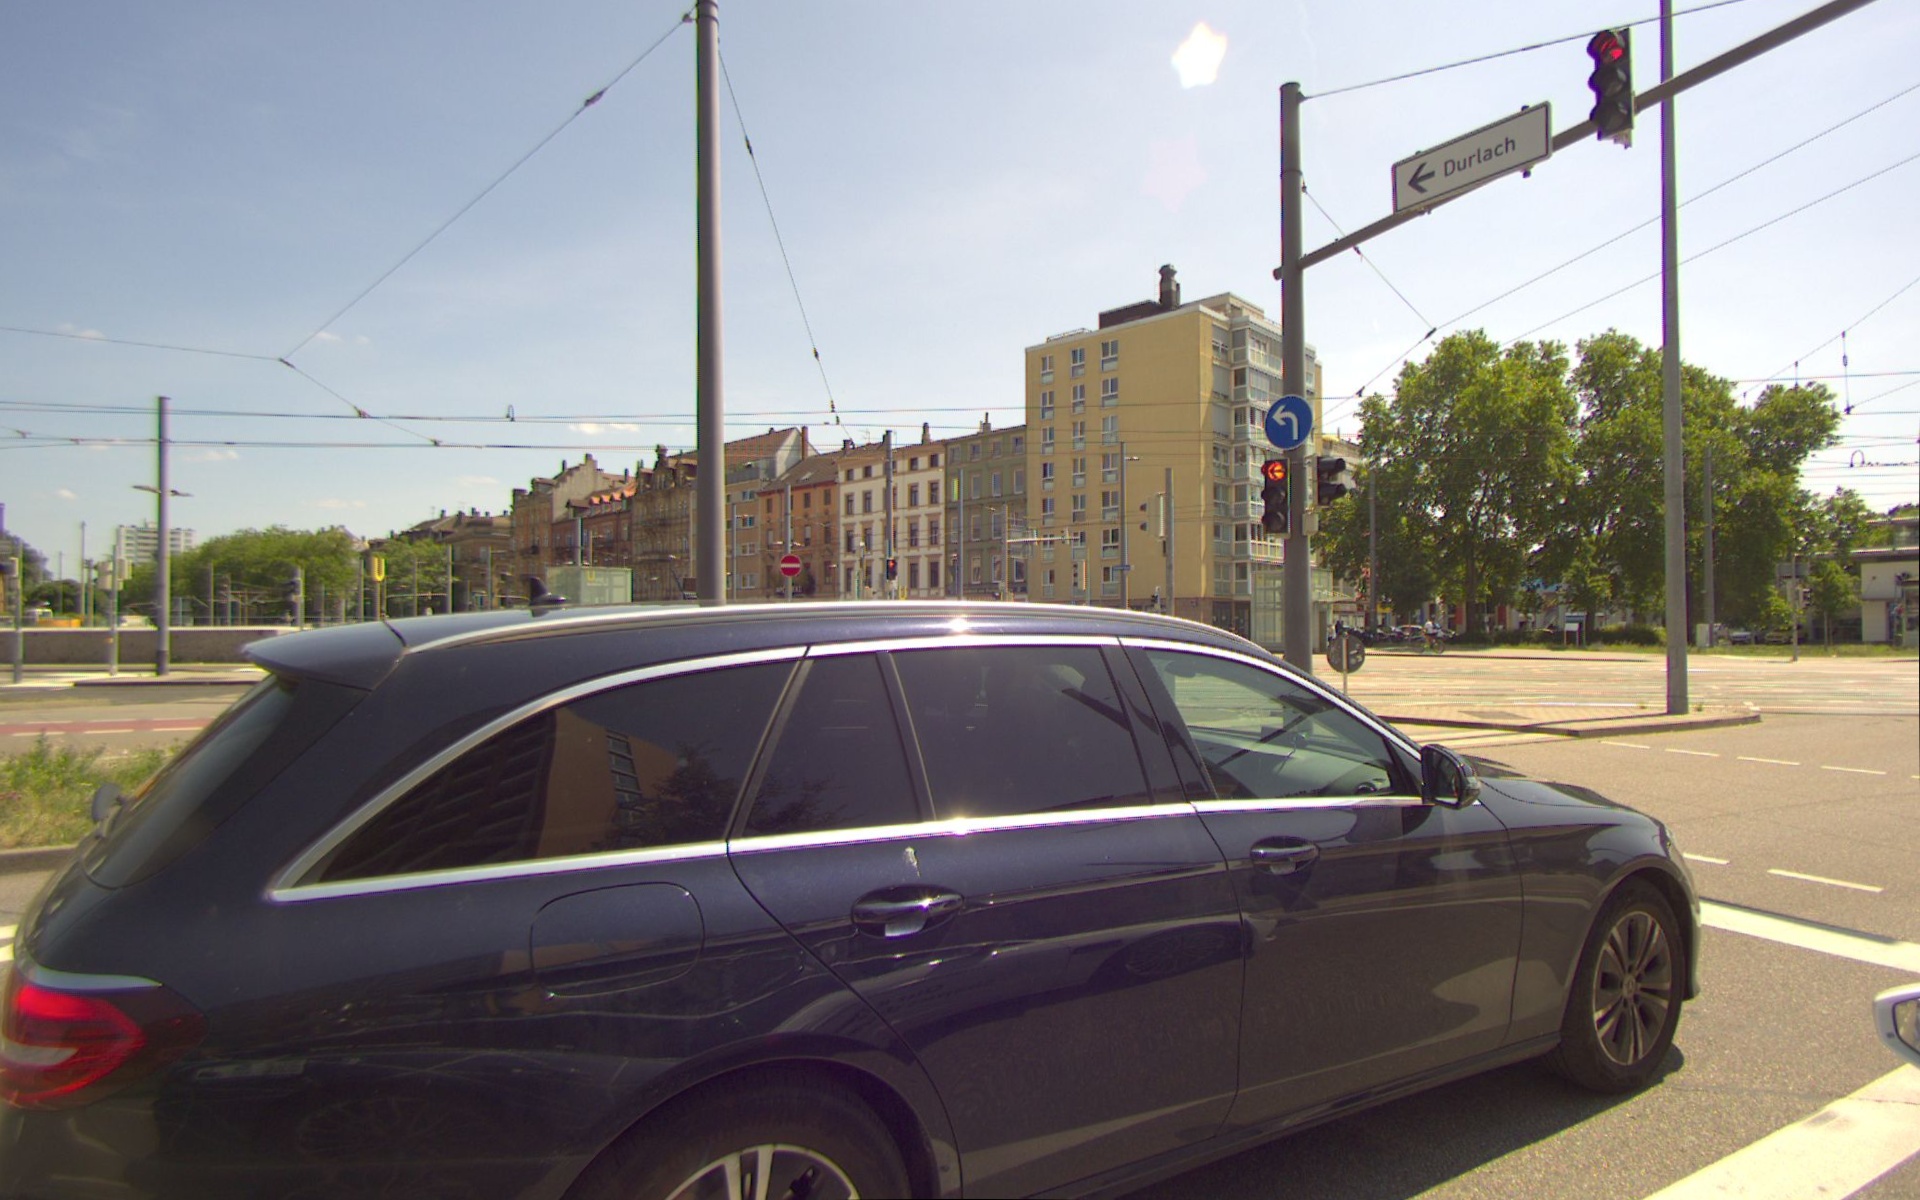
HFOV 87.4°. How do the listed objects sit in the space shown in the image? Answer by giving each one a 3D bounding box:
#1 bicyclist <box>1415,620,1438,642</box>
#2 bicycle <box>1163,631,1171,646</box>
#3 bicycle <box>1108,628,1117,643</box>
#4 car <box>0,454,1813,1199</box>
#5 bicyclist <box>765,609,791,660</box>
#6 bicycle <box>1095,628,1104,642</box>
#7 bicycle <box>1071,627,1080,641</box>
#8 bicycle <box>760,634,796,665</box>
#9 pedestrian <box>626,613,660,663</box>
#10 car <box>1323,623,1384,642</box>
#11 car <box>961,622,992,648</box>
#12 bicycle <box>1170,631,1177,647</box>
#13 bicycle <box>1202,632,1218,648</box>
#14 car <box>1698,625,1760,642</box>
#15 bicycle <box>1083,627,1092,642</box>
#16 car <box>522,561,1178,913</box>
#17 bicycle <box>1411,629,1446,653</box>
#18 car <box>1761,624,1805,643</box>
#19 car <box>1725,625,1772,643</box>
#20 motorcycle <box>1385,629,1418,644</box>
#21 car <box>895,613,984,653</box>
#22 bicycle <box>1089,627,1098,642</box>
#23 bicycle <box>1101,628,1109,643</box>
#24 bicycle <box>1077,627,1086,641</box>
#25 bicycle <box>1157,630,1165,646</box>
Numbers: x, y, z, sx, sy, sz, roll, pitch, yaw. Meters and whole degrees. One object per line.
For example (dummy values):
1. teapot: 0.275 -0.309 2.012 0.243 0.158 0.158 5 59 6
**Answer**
1. bicyclist: 24.147 1.604 51.990 0.915 1.157 0.713 -1 -2 43
2. bicycle: 14.248 2.638 69.018 0.424 1.040 1.445 0 -1 16
3. bicycle: 11.015 2.558 72.501 0.424 1.040 1.445 0 -1 16
4. car: 0.455 0.711 3.082 4.747 1.662 1.789 1 -2 -30
5. bicyclist: -5.731 1.088 31.579 0.433 1.549 1.245 2 0 -26
6. bicycle: 10.181 2.537 73.156 0.424 1.040 1.445 0 -1 16
7. bicycle: 8.607 2.496 74.535 0.424 1.040 1.445 0 -1 16
8. bicycle: -5.731 1.536 31.530 0.620 0.866 1.887 2 0 -26
9. pedestrian: -11.820 1.420 37.458 1.114 1.837 0.677 -1 -1 38
10. car: 29.954 2.476 76.478 3.942 1.439 1.990 -1 -2 41
11. car: 1.124 2.461 70.823 1.803 1.773 3.998 0 -1 -4
12. bicycle: 14.617 2.648 68.754 0.424 1.040 1.445 0 -1 16
13. bicycle: 17.032 2.718 68.487 0.427 1.040 1.435 -1 -2 44
14. car: 71.259 3.104 93.100 4.245 1.530 1.771 -1 -1 26
15. bicycle: 9.377 2.516 73.760 0.424 1.040 1.445 0 -1 16
16. car: -0.633 0.664 6.252 3.693 1.597 1.736 1 -2 -30
17. bicycle: 24.200 2.096 51.943 1.489 1.233 0.713 -1 -2 44
18. car: 69.398 2.832 84.669 4.283 1.530 1.756 1 -2 -35
19. car: 68.493 2.931 87.241 4.274 1.530 1.759 1 -2 -29
20. motorcycle: 28.007 2.310 63.689 1.887 0.974 0.524 -1 -1 31
21. car: -1.157 1.761 54.228 4.804 2.084 1.989 -2 -2 43
22. bicycle: 9.738 2.525 73.452 0.424 1.040 1.445 0 -1 16
23. bicycle: 10.497 2.544 72.759 0.424 1.040 1.445 0 -1 16
24. bicycle: 8.949 2.505 74.197 0.424 1.040 1.445 0 -1 16
25. bicycle: 13.873 2.629 69.329 0.424 1.040 1.445 0 -1 16
